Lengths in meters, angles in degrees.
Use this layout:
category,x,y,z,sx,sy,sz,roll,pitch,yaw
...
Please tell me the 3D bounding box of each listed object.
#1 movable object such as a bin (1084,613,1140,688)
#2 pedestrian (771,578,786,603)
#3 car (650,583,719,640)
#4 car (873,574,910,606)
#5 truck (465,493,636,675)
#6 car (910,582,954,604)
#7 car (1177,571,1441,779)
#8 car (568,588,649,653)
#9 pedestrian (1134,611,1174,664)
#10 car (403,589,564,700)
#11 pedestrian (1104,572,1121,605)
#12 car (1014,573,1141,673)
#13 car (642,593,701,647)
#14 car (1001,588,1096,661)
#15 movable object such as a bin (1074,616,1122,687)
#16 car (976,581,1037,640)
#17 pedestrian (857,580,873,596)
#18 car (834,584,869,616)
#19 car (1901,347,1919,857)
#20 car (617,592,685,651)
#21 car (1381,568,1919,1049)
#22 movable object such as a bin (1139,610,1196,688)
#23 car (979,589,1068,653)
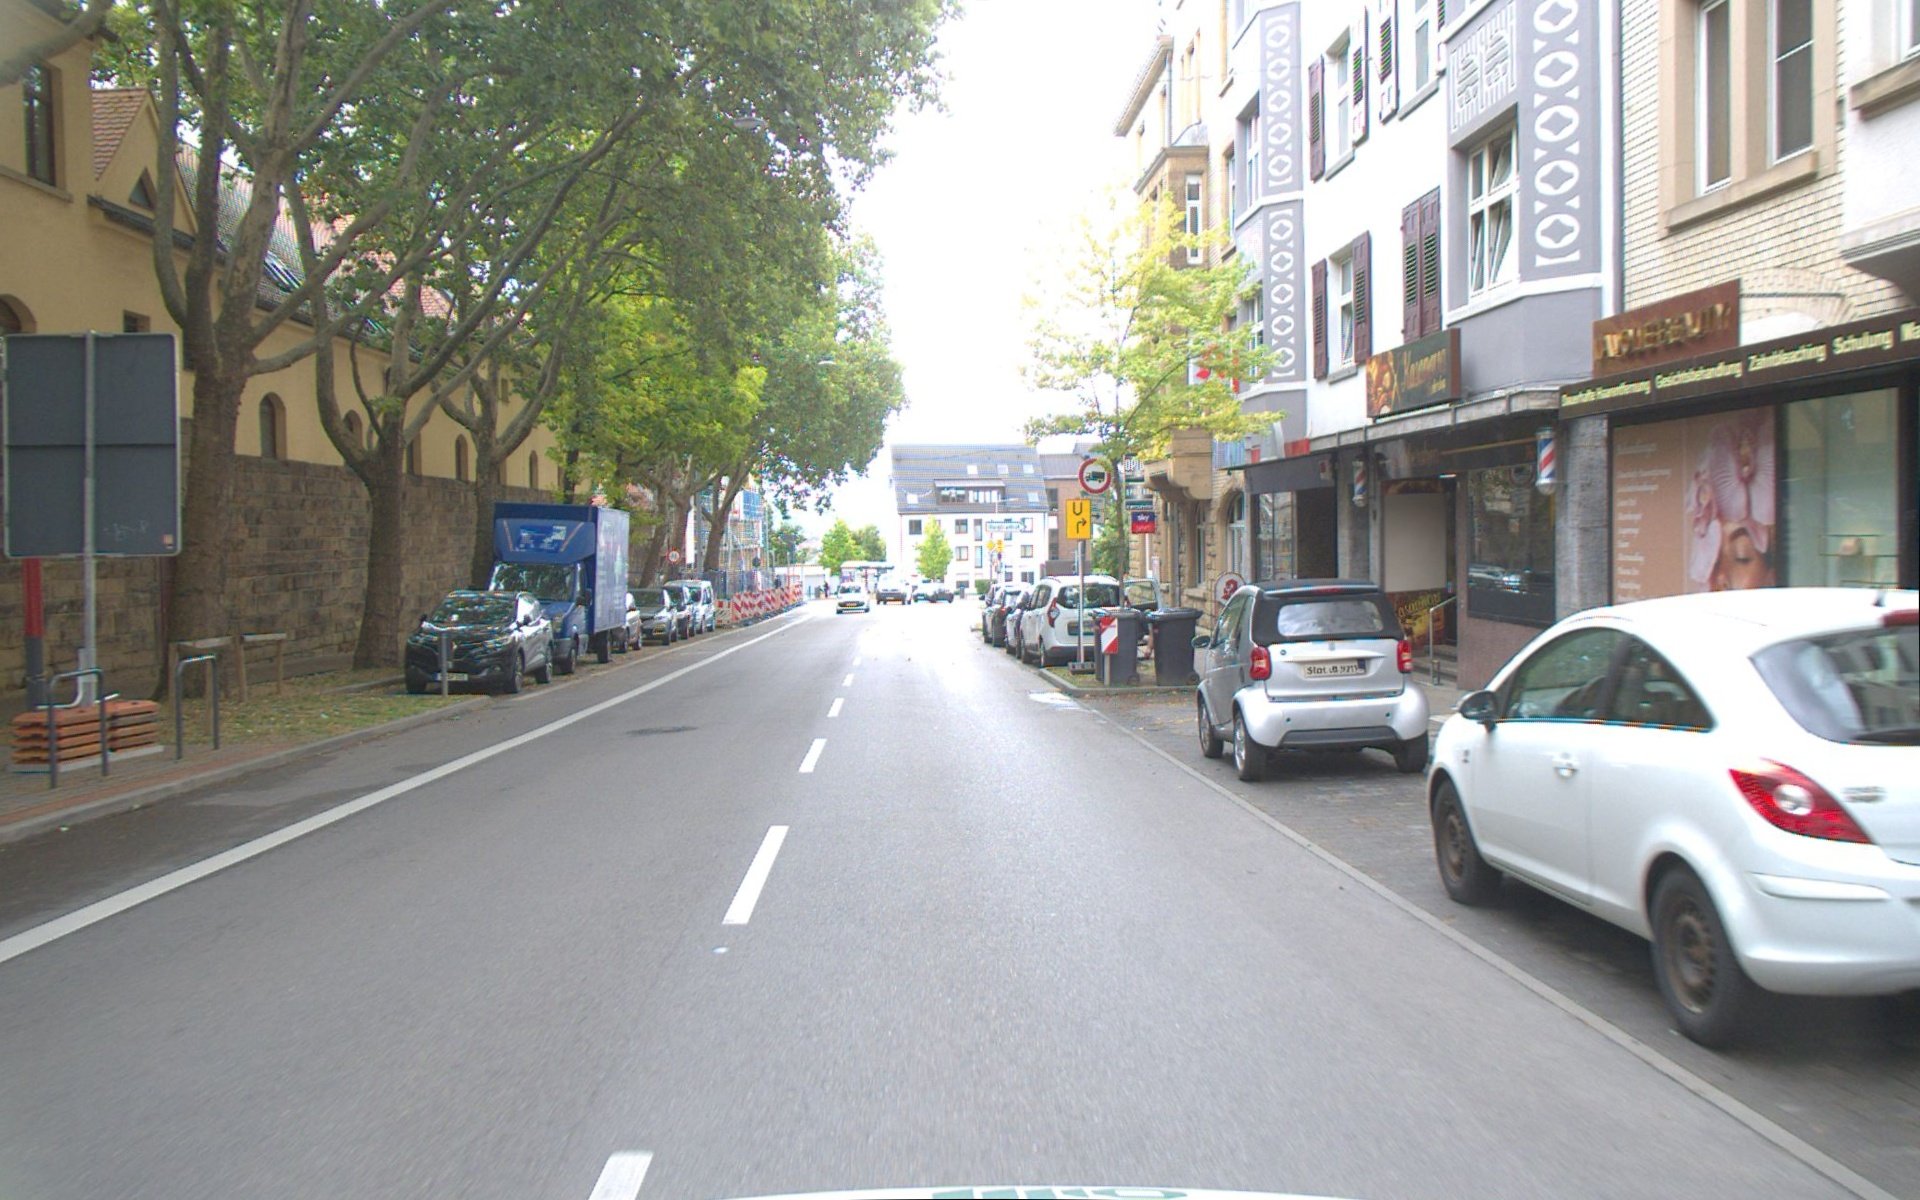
category,x,y,z,sx,sy,sz,roll,pitch,yaw
movable object such as a bin,2.170,0.716,23.655,0.611,1.042,0.695,-1,0,-10
pedestrian,-12.710,-0.684,115.933,0.904,1.750,0.798,1,-1,1
car,-9.816,0.404,59.228,1.797,1.909,4.415,-2,0,-2
car,-4.336,-0.680,105.839,2.160,1.965,5.240,1,1,0
truck,-8.596,-0.297,35.498,2.171,3.476,7.242,1,0,-3
car,-2.039,-0.530,121.539,1.622,1.489,3.999,-4,-1,23
car,2.954,0.568,14.645,1.452,1.561,3.521,-2,0,-2
car,-9.062,0.525,42.865,1.450,1.601,2.991,1,-1,0
pedestrian,3.561,0.678,30.372,0.612,0.957,0.693,0,0,-4
car,-8.001,0.725,28.143,1.697,1.718,4.250,1,-1,-3
pedestrian,8.426,-0.624,91.305,0.704,1.765,0.652,2,-1,-35
car,2.151,0.405,31.461,1.646,1.692,4.539,-3,0,-5
car,-9.311,0.631,53.604,1.479,1.660,4.111,1,-1,-5
car,1.878,0.505,36.370,1.574,1.421,4.273,-3,0,-3
movable object such as a bin,2.089,0.773,25.143,0.610,1.042,0.696,-1,0,-5
car,1.352,0.300,48.932,1.533,1.638,3.652,-2,0,-2
pedestrian,-7.331,-0.933,127.201,0.914,1.213,0.904,0,-1,26
car,-5.416,-0.016,83.017,1.551,1.489,3.650,-3,0,-2
car,3.416,0.353,1.586,1.869,1.964,4.915,-2,0,-5
car,-8.969,0.622,48.246,1.563,1.601,4.082,1,-1,-5
car,3.257,0.619,7.155,1.649,1.440,4.040,-2,0,-2
movable object such as a bin,2.962,0.690,23.613,0.681,1.092,0.623,0,0,-6
car,1.581,0.505,42.718,1.704,1.488,4.771,-3,0,-4
